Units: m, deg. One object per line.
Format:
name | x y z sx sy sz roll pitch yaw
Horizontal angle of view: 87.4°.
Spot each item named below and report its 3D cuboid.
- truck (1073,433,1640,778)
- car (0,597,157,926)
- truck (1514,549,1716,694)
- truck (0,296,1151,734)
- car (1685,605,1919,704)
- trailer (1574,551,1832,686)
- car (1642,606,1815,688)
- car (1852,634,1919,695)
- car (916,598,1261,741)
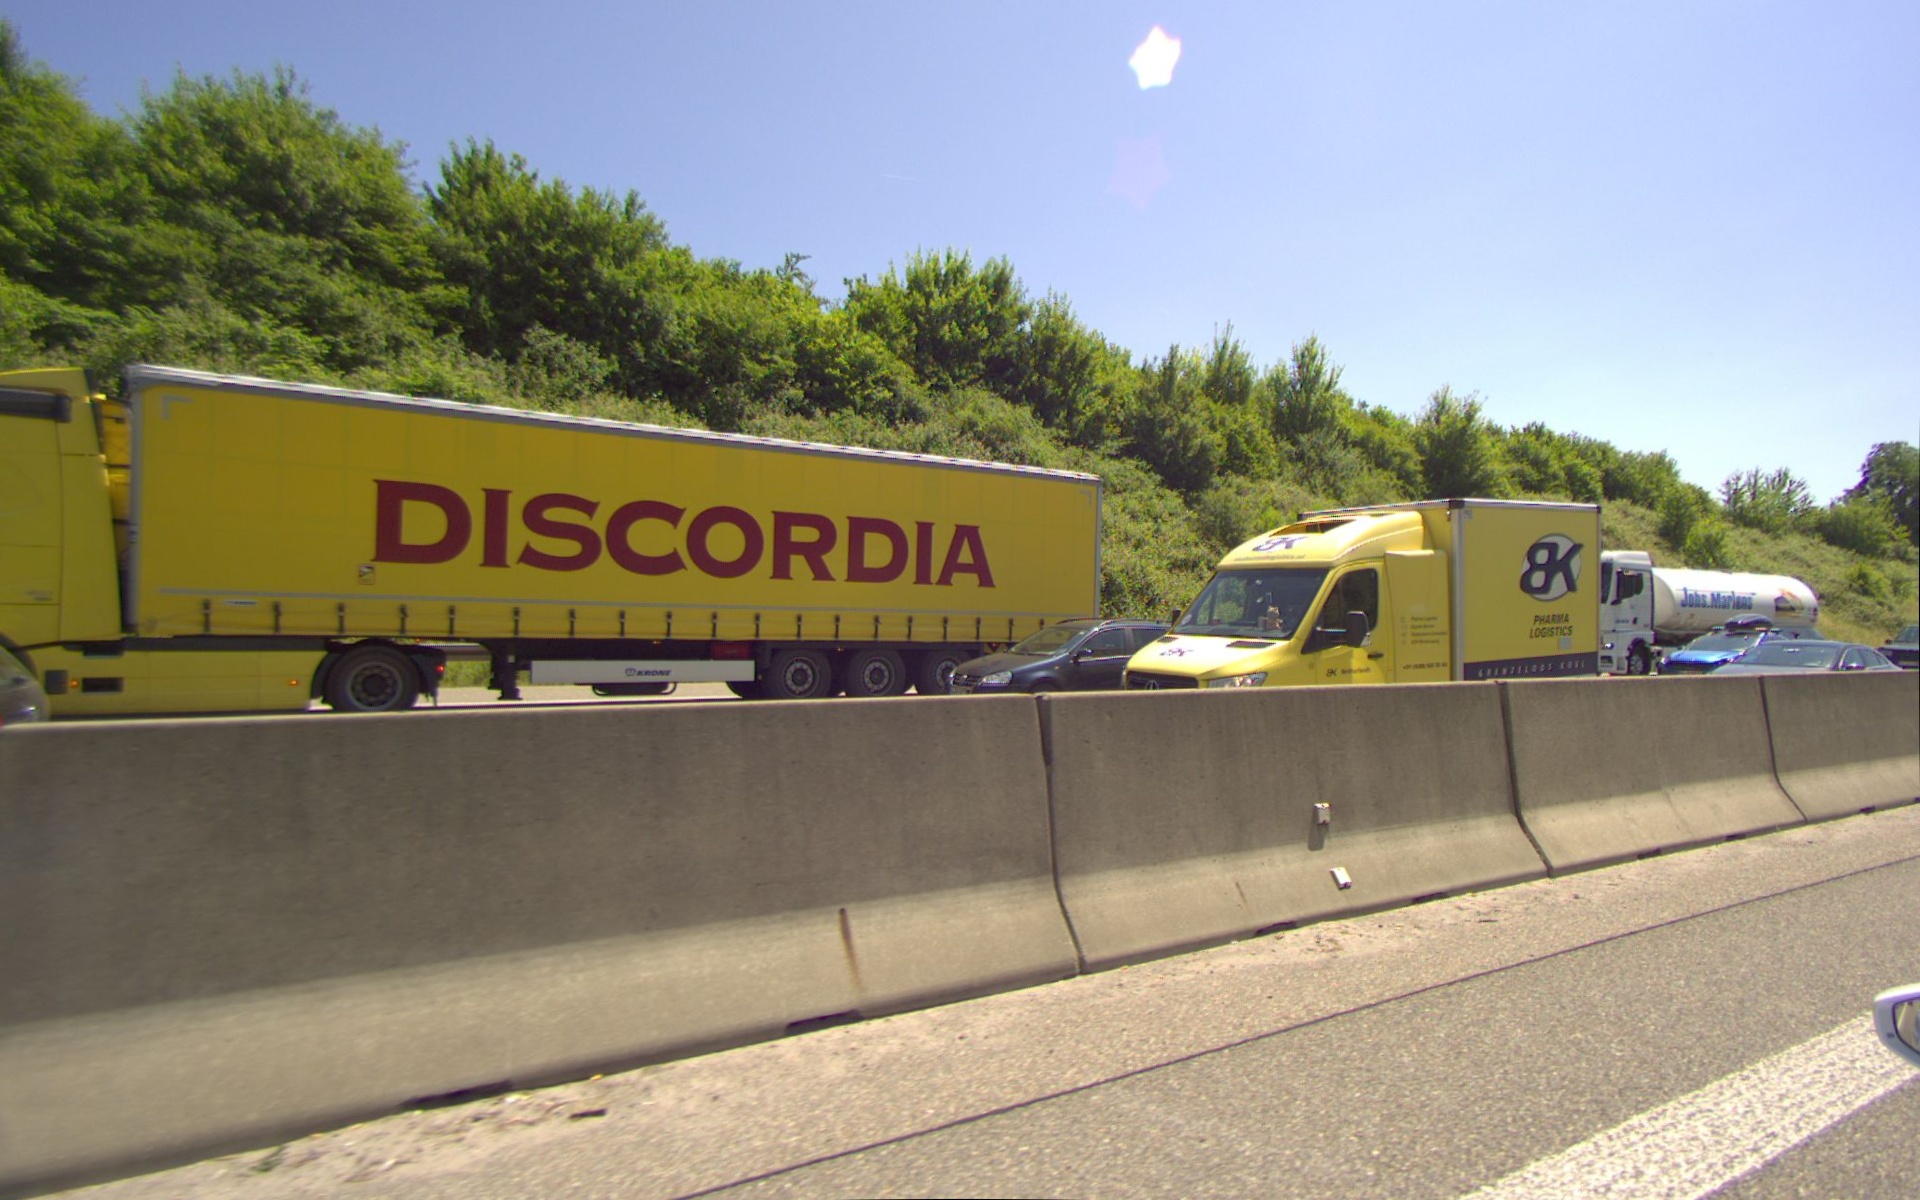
truck | 4.731 0.155 11.527 6.695 3.056 2.258 2 0 -29
car | -6.704 0.697 4.417 4.707 1.517 1.818 2 0 -32
truck | 18.999 0.650 29.073 5.807 3.793 2.664 2 0 -32
truck | -4.903 -0.652 15.484 17.179 4.515 3.678 2 0 -31
car | 14.911 0.932 17.697 4.707 1.517 1.818 2 0 -32
trailer | 23.819 0.610 31.953 10.555 3.783 2.597 1 0 -30
car | 18.755 1.131 24.443 4.938 1.788 1.817 2 0 -33
car | 30.253 2.033 31.501 4.702 1.751 1.988 2 0 -30
car | 1.968 0.959 14.746 4.934 1.788 1.818 2 0 -31
